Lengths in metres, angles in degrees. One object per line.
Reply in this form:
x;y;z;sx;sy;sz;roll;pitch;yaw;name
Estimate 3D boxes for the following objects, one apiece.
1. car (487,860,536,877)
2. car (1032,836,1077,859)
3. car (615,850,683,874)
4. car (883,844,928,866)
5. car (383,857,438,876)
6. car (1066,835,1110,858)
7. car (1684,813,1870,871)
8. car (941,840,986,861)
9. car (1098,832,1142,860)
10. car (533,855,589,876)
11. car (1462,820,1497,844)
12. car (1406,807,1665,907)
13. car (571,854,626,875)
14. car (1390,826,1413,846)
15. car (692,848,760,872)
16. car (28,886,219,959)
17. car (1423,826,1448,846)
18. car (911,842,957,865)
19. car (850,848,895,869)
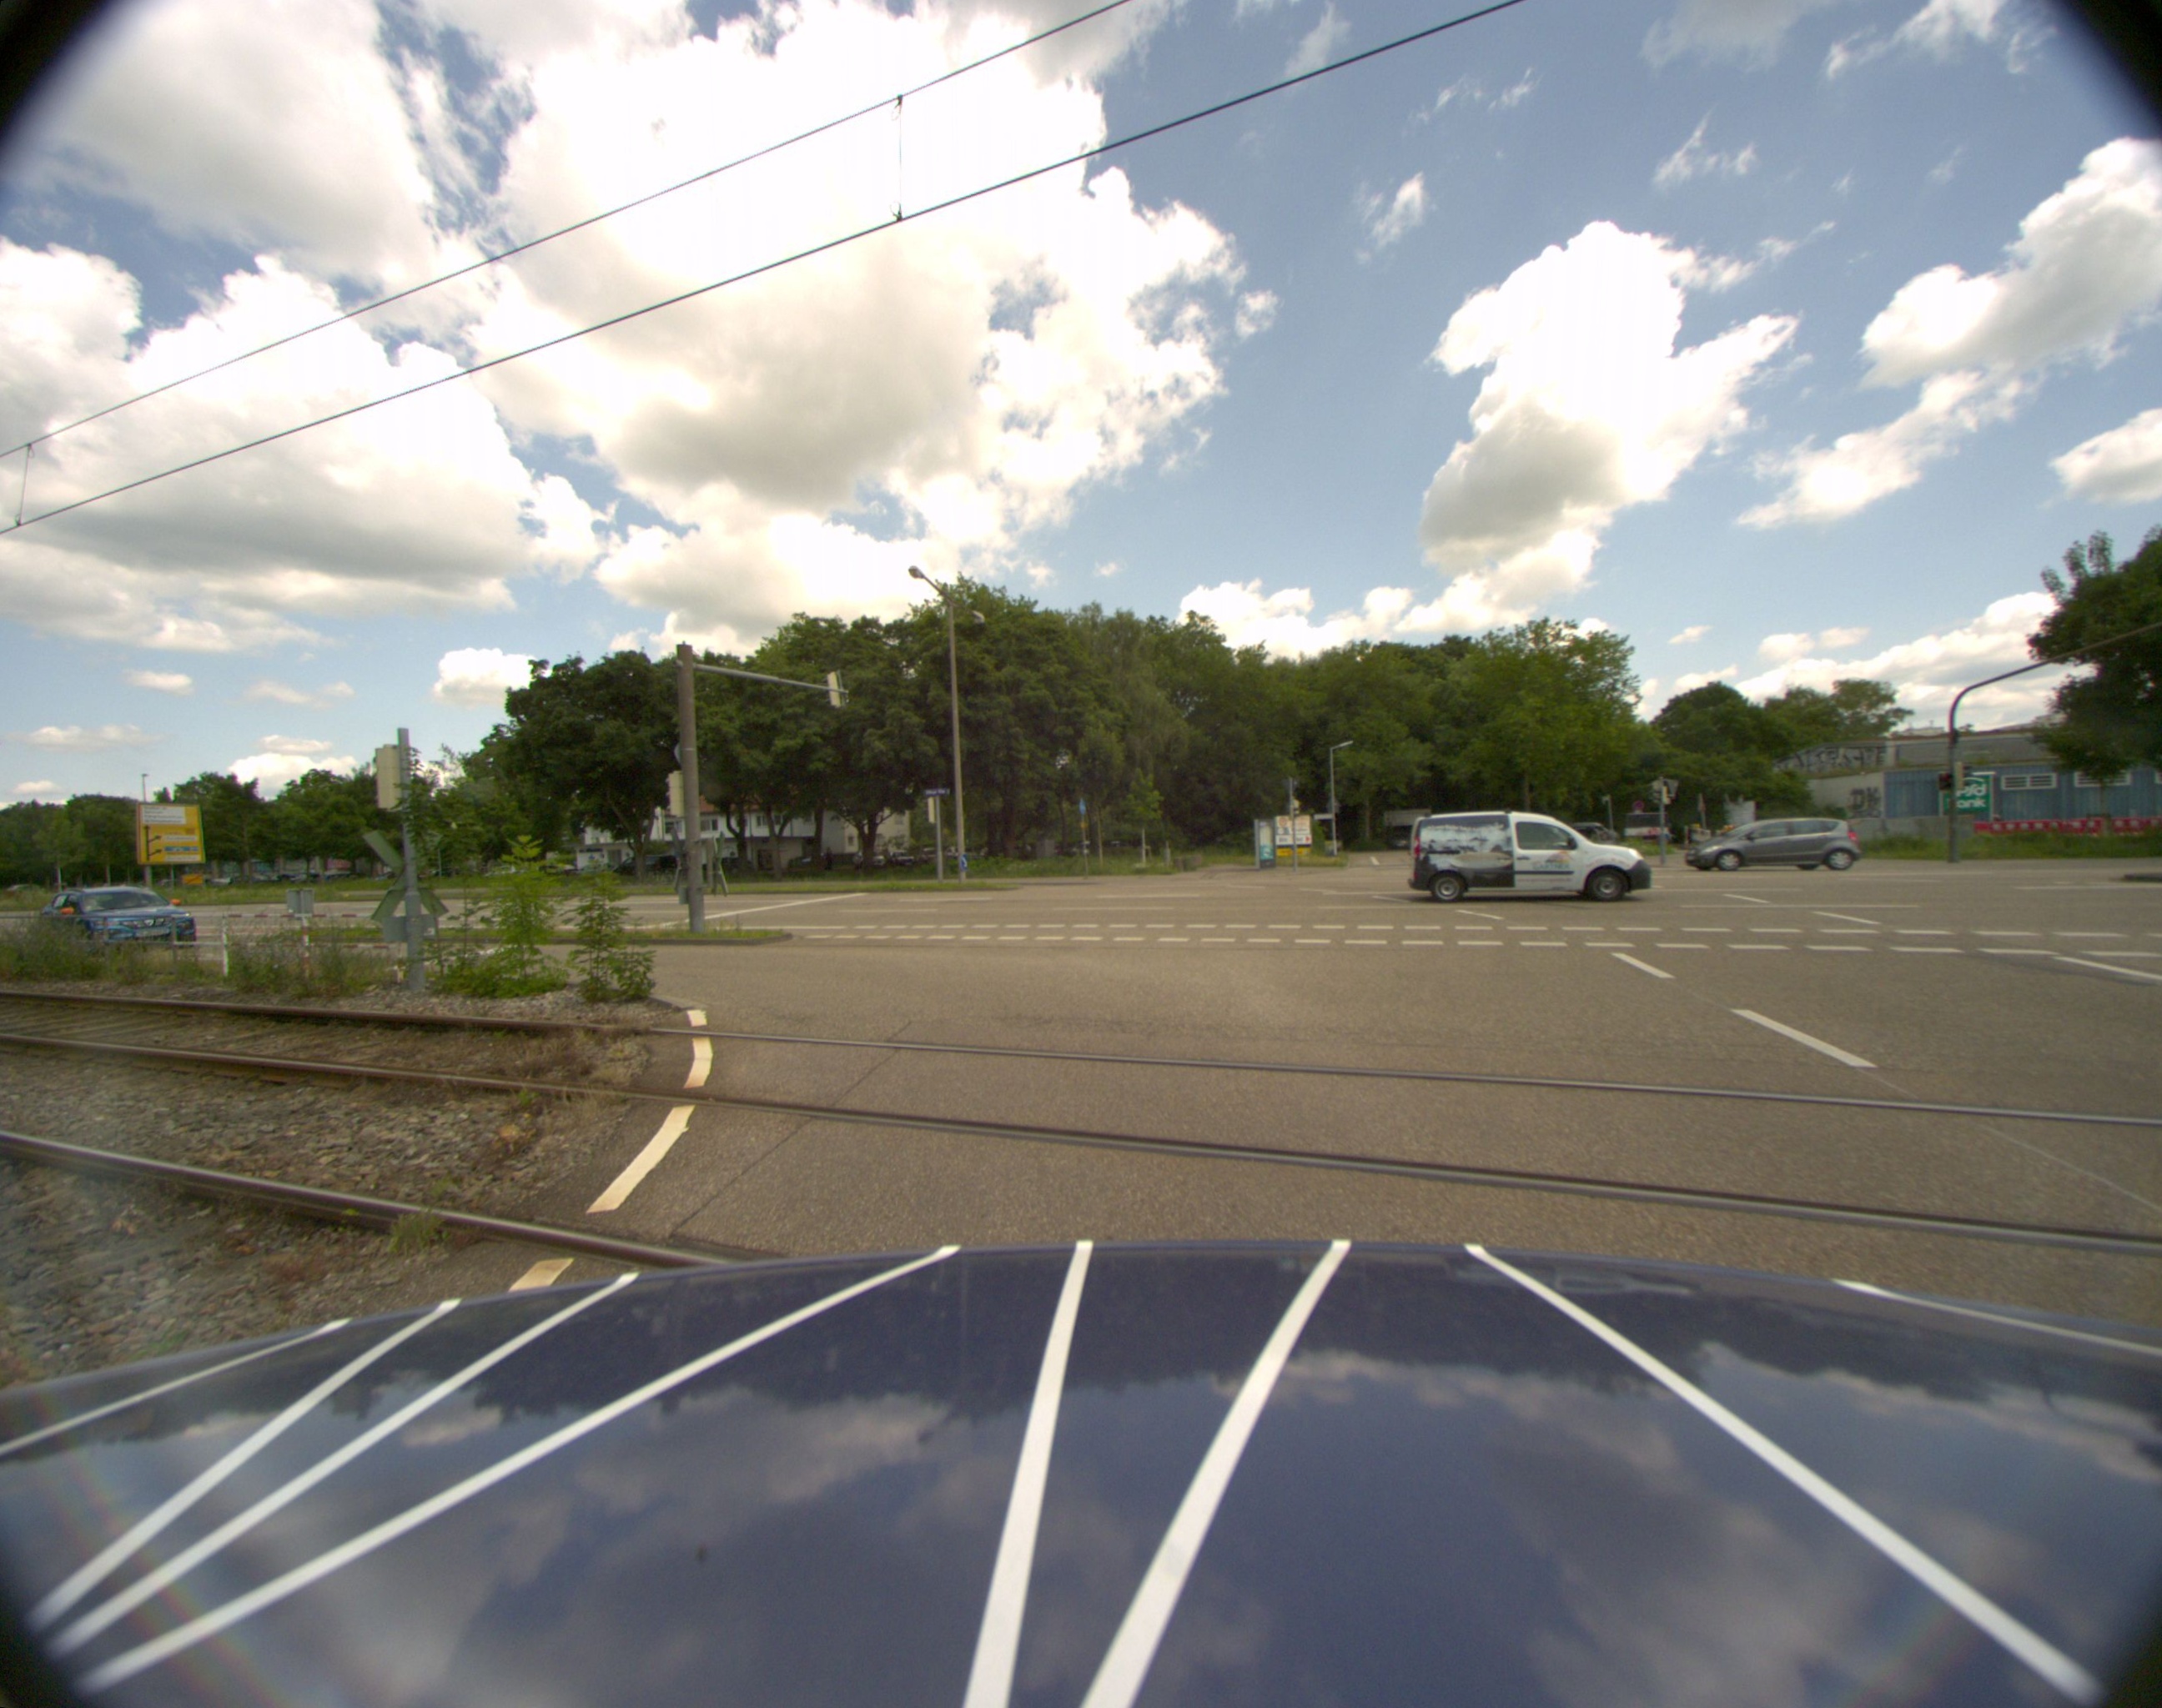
-48.684;1.210;64.980;3.469;1.324;1.629;-2;1;20;car
-2.134;-0.538;62.907;1.814;1.718;4.134;-2;1;28;car
-34.097;0.627;59.972;4.918;1.701;1.891;-2;1;20;car
-13.521;0.078;58.335;2.003;1.578;4.013;-3;1;-34;car
-61.033;1.143;69.217;4.014;1.578;2.002;-2;1;20;car
0.621;-0.624;62.244;1.814;1.700;4.134;-2;1;28;car
20.912;-0.350;23.027;3.764;1.585;1.794;-2;1;22;car
-9.480;-0.252;61.158;2.003;1.536;4.013;-3;1;-34;car
3.106;-0.659;60.430;1.995;2.002;4.006;-1;1;26;car
-43.396;0.971;63.407;4.014;1.578;1.766;-2;1;20;car
32.269;-1.822;61.495;1.932;1.783;3.626;0;3;37;car
8.753;0.063;15.061;4.147;1.775;1.750;-2;3;21;car
-39.433;0.831;62.092;3.658;1.578;1.925;-2;1;20;car
26.797;-1.534;63.641;1.616;1.500;3.623;-1;3;21;car
-27.276;0.457;58.378;4.358;1.648;1.813;-2;3;9;car
-22.101;1.543;17.554;3.695;1.455;1.607;-2;1;20;car
29.457;-1.502;63.259;1.616;1.500;3.623;-1;3;21;car
-11.610;-0.012;59.847;2.003;1.578;4.013;-3;0;-34;car
-15.619;0.341;56.752;2.003;1.475;4.013;-3;1;-34;car
